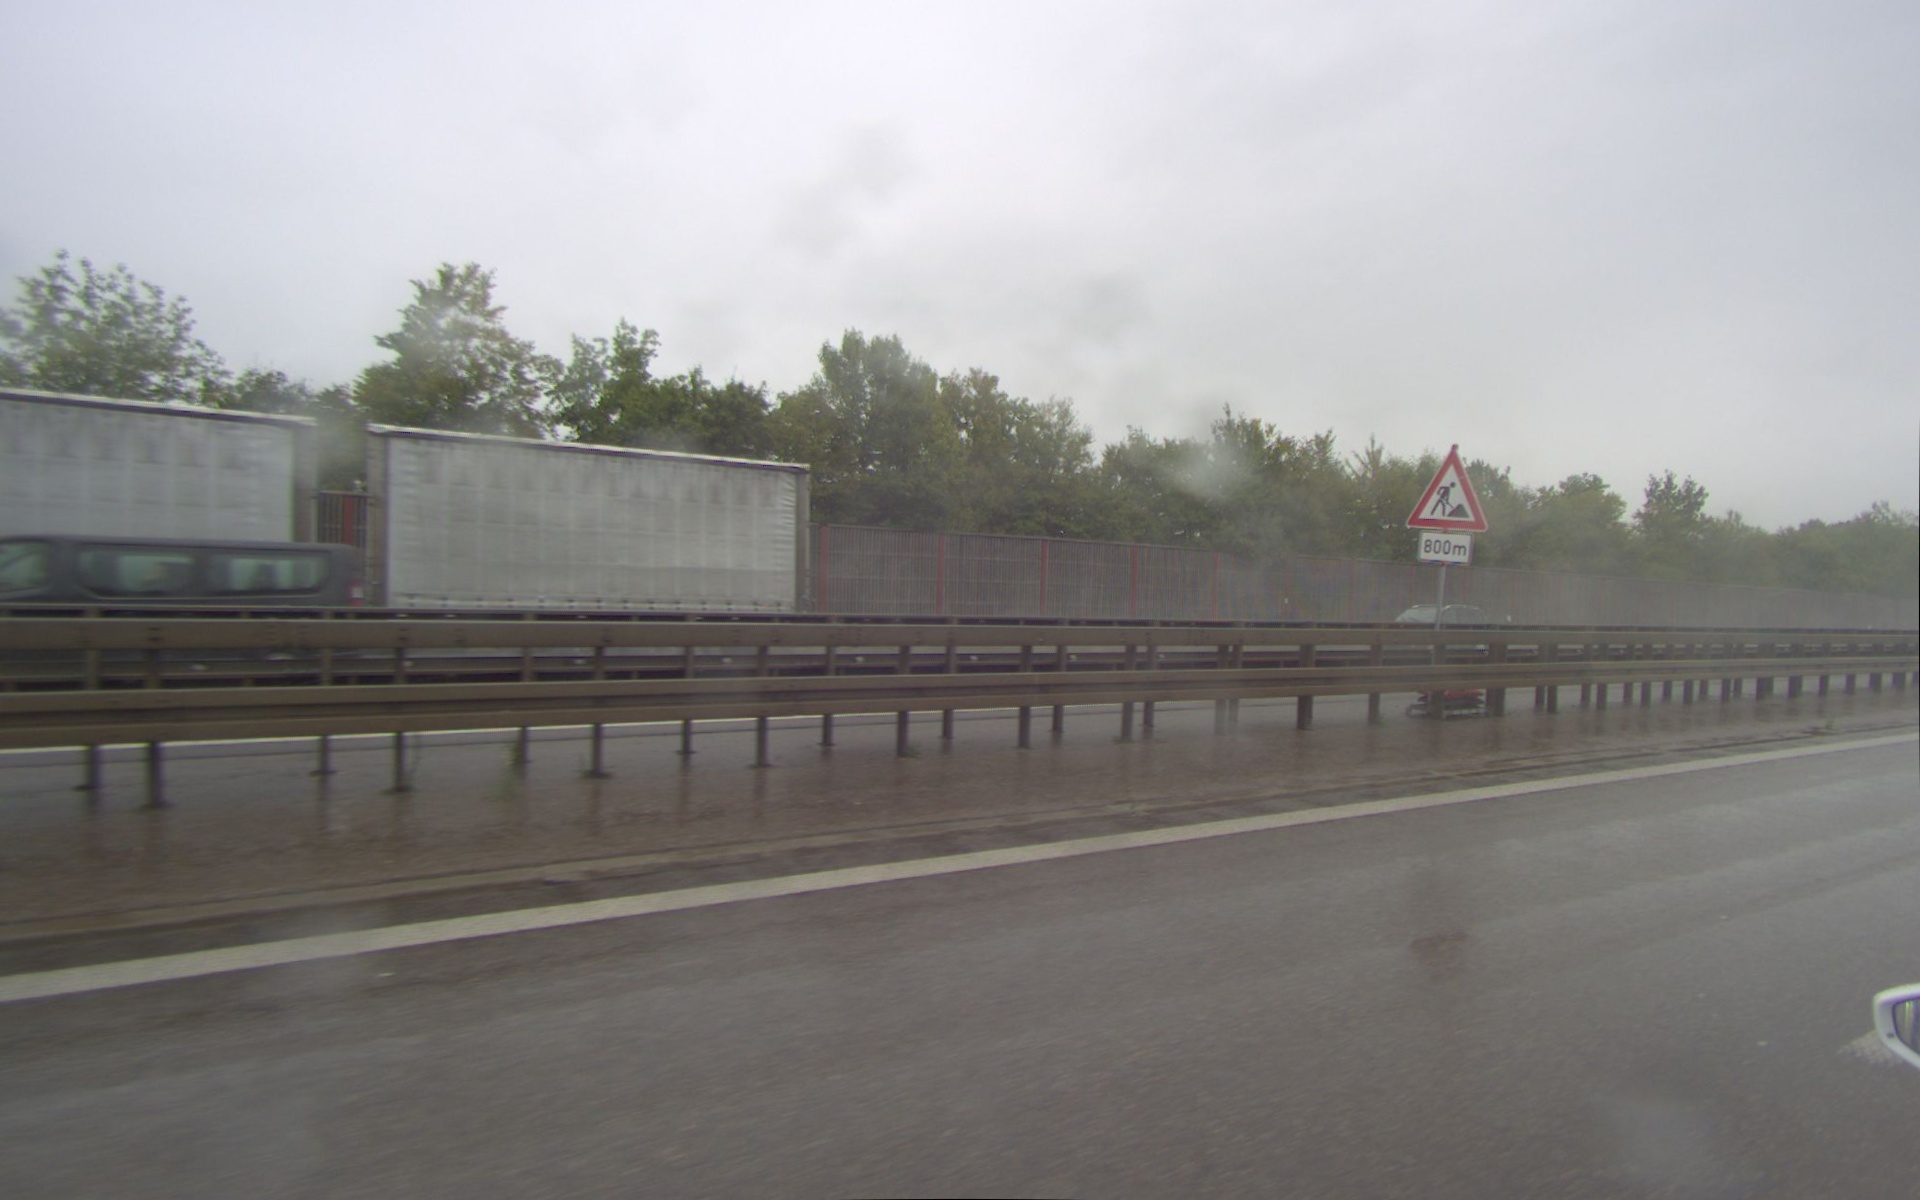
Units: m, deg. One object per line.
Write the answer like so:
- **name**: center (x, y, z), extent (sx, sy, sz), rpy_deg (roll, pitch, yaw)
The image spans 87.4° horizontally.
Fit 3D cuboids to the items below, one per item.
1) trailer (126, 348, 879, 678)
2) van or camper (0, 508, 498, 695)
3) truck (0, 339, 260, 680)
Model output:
- **trailer**: center (-7.840, -1.177, 19.336), extent (12.105, 4.758, 3.849), rpy_deg (1, 0, -32)
- **van or camper**: center (-9.116, 0.049, 12.914), extent (5.605, 2.040, 1.984), rpy_deg (1, 0, -30)
- **truck**: center (-15.938, -1.299, 14.383), extent (9.385, 4.701, 3.815), rpy_deg (1, 0, -32)
